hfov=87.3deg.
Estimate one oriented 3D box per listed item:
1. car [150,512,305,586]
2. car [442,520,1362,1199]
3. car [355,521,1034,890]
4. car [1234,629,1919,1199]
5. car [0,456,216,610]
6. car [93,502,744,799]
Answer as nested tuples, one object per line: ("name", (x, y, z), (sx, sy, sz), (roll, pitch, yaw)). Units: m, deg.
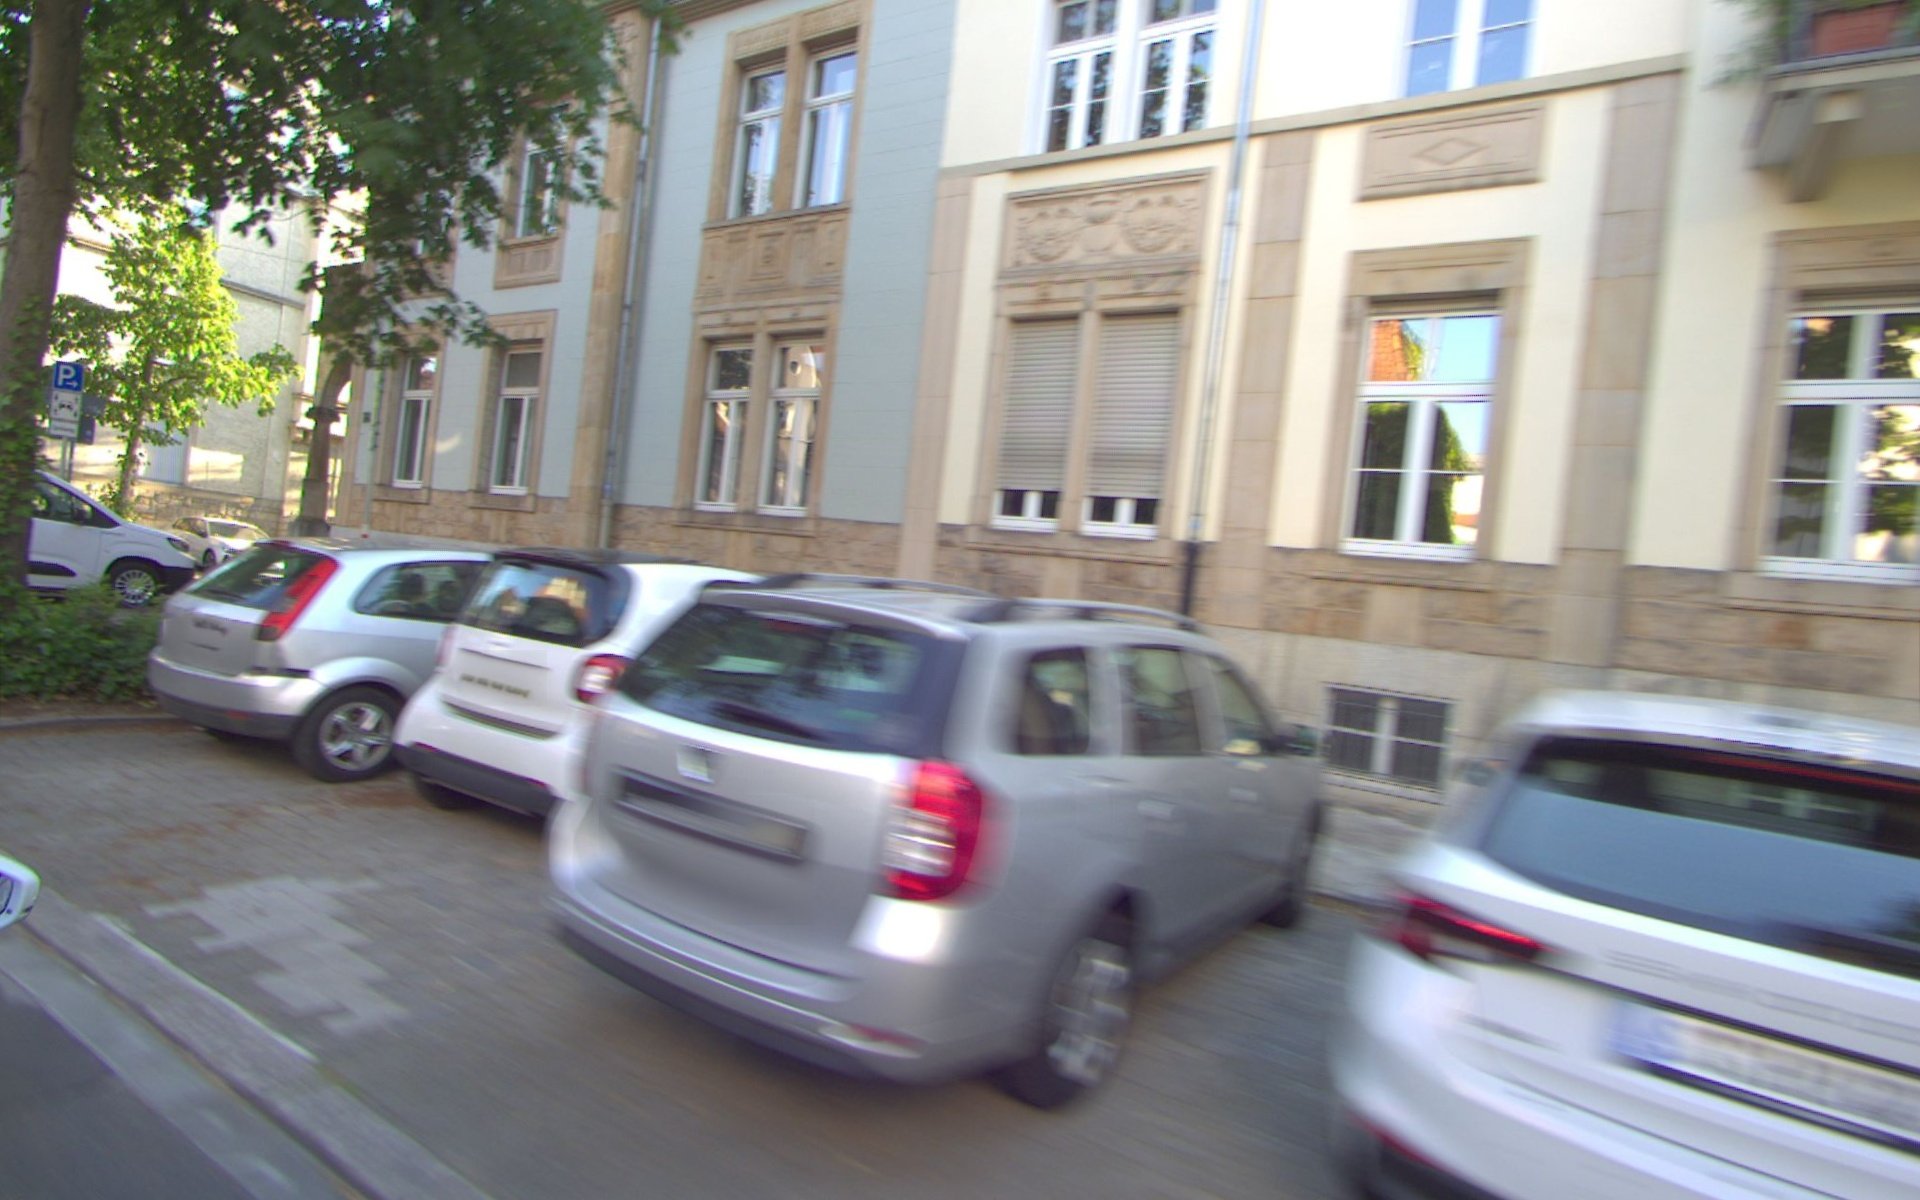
("car", (-19.743, -1.396, 27.061), (4.394, 1.426, 1.785), (8, 0, 32))
("car", (0.316, 0.722, 4.308), (1.659, 1.554, 4.145), (7, 1, 33))
("car", (-1.346, 0.544, 6.821), (1.798, 1.554, 4.317), (7, 1, 31))
("car", (2.474, 0.992, 3.334), (1.661, 1.481, 3.850), (7, 1, 36))
("car", (-12.730, -0.971, 13.157), (1.967, 1.830, 4.317), (7, 1, 31))
("car", (-3.576, 0.313, 7.322), (1.705, 1.481, 3.750), (7, 1, 31))
